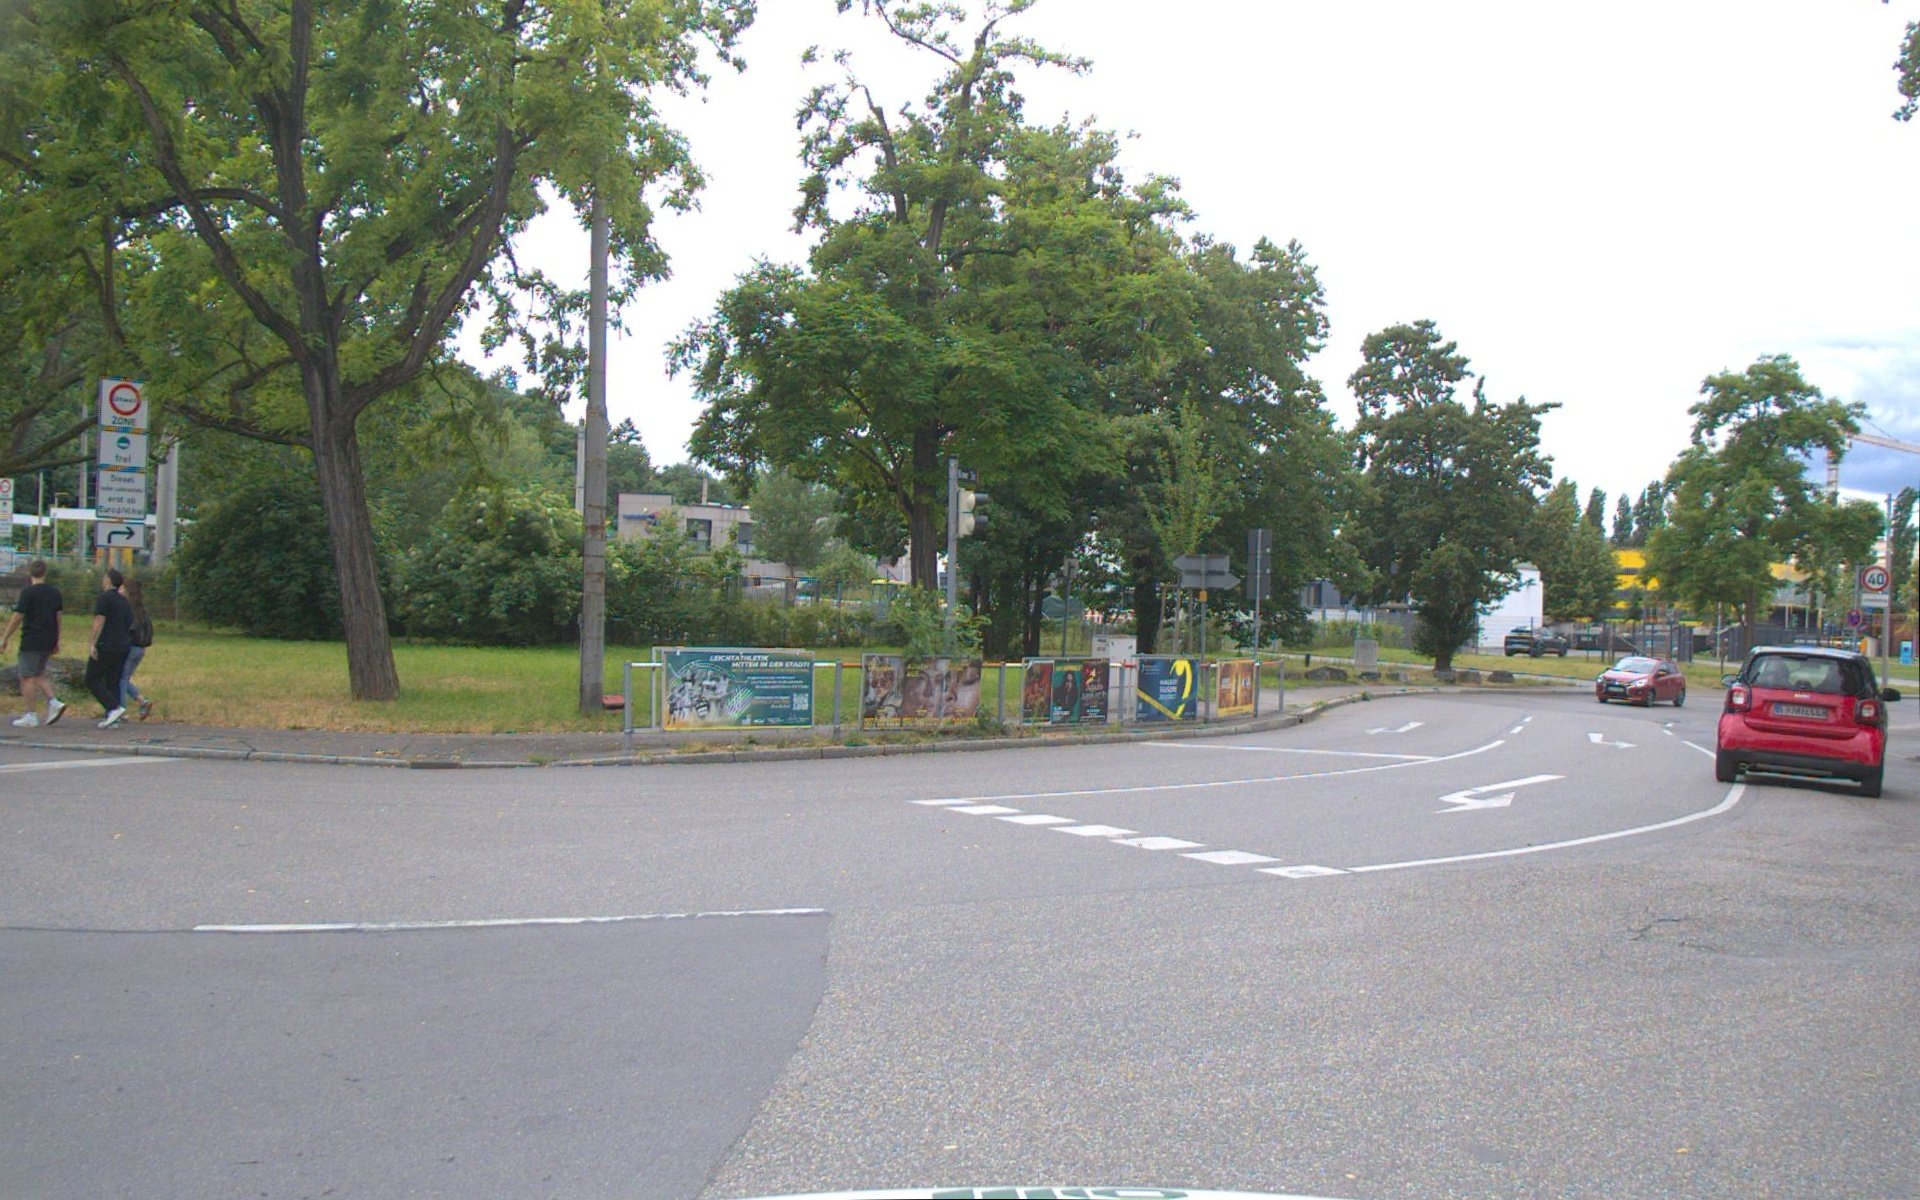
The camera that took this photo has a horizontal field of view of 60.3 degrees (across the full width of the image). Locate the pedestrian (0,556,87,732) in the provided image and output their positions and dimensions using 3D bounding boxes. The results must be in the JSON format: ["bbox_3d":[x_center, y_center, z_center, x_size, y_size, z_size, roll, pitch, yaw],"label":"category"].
[{"bbox_3d":[-10.248,0.471,18.267,0.769,1.889,0.696,2,0,5],"label":"pedestrian"}]

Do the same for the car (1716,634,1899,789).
[{"bbox_3d":[9.643,1.183,18.772,1.679,1.490,3.015,2,1,29],"label":"car"}]

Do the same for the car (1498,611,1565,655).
[{"bbox_3d":[28.870,1.671,83.542,1.932,2.048,4.201,3,0,37],"label":"car"}]

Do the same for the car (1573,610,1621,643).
[{"bbox_3d":[42.926,1.784,111.419,1.932,2.048,4.201,3,0,37],"label":"car"}]

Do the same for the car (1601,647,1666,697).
[{"bbox_3d":[21.490,2.264,52.706,1.693,1.491,3.831,1,-1,25],"label":"car"}]

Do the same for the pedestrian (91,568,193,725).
[{"bbox_3d":[-9.525,0.532,19.277,0.769,1.770,0.696,2,0,5],"label":"pedestrian"}]

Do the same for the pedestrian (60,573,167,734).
[{"bbox_3d":[-9.490,0.583,18.563,0.769,1.744,0.696,2,0,5],"label":"pedestrian"}]
